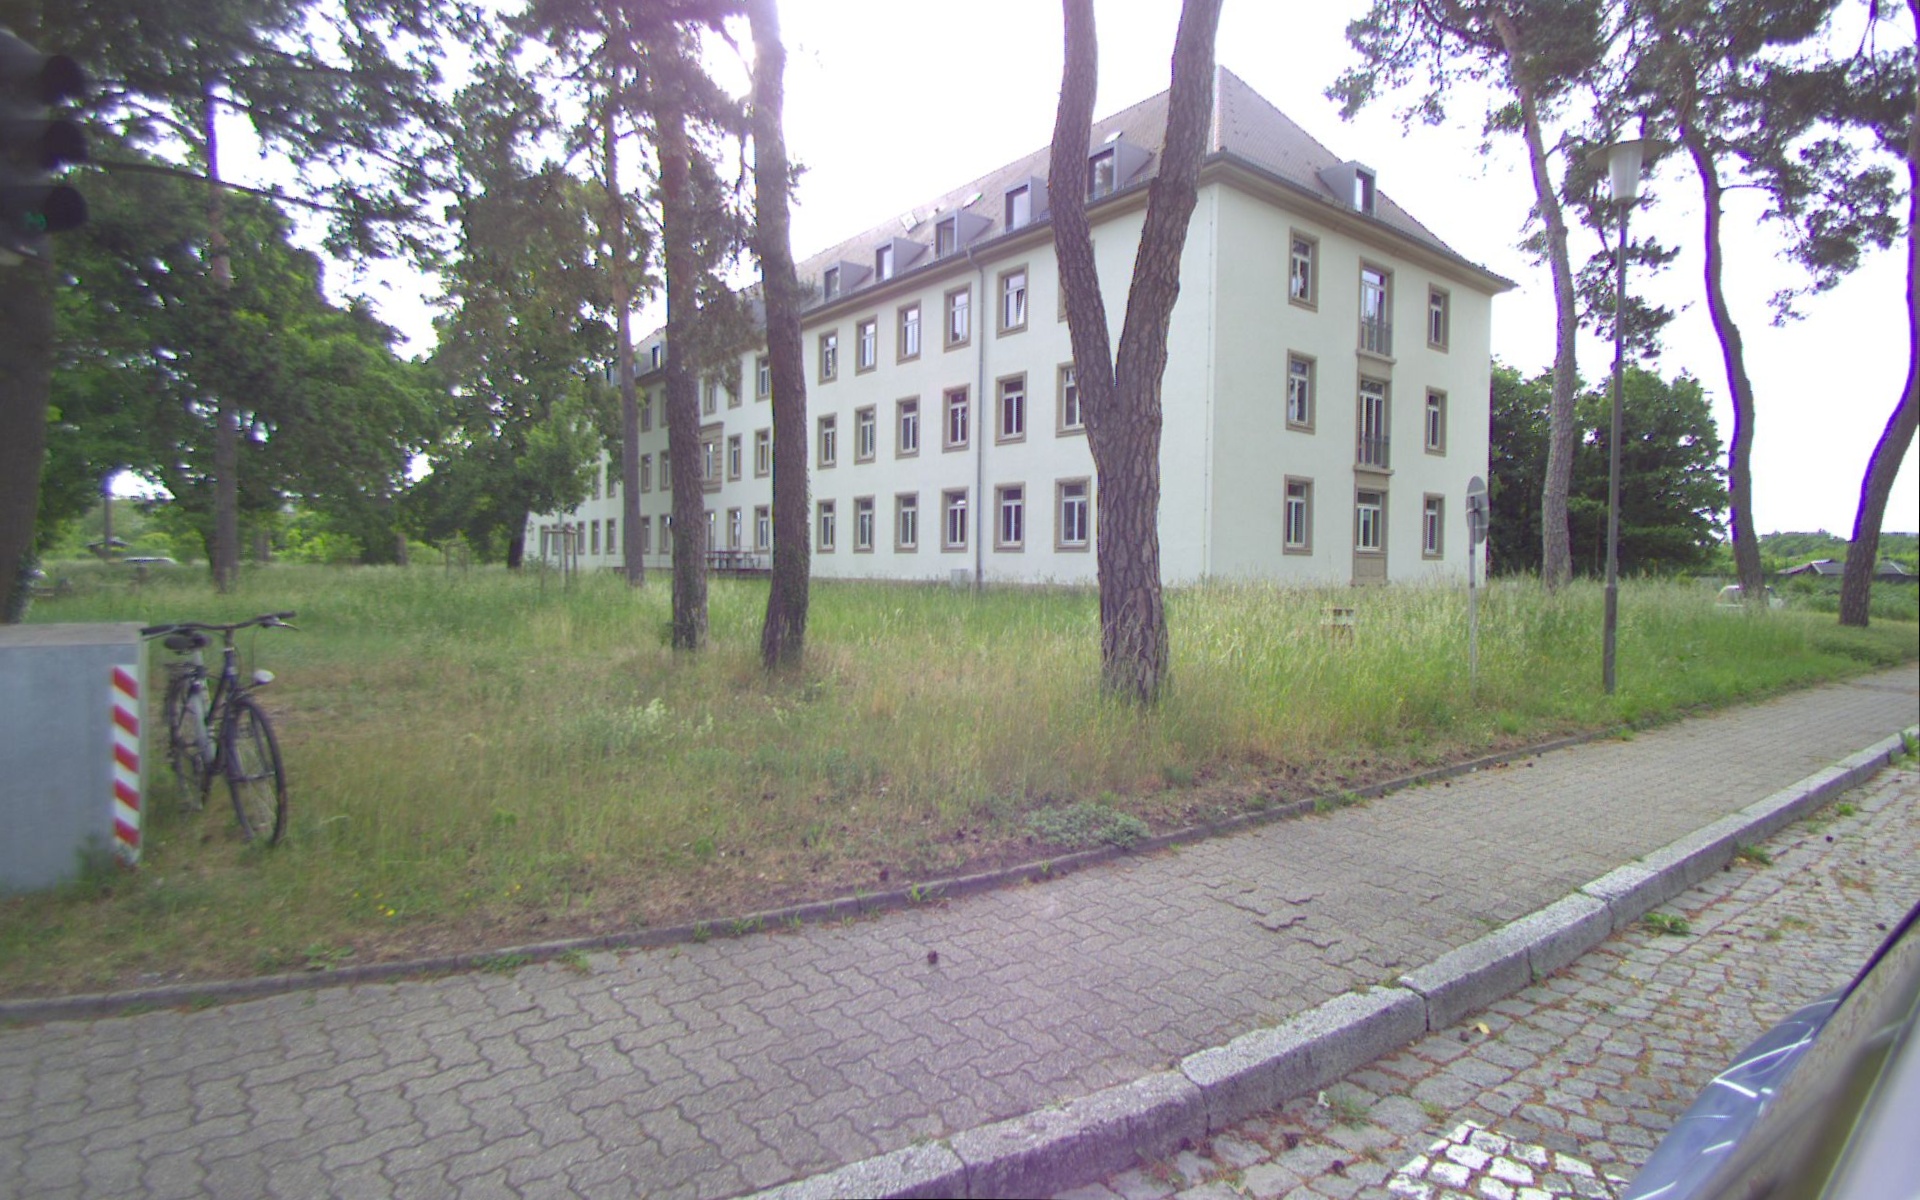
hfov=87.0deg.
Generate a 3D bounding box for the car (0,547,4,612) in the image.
[{"bbox_3d":[-24.140,-0.448,22.589,3.859,1.549,1.862,-1,2,-37],"label":"car"}]

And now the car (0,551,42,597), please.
[{"bbox_3d":[-35.459,-0.923,35.657,4.435,1.638,1.999,-1,2,-38],"label":"car"}]

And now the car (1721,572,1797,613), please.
[{"bbox_3d":[31.445,-0.332,39.802,3.220,1.451,1.641,-4,4,-38],"label":"car"}]

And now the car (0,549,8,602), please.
[{"bbox_3d":[-32.099,-0.759,31.111,3.927,1.638,1.999,-1,2,-38],"label":"car"}]

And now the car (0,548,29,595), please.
[{"bbox_3d":[-37.980,-1.073,37.733,4.610,1.795,1.999,-1,2,-38],"label":"car"}]

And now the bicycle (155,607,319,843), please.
[{"bbox_3d":[-3.563,0.514,4.953,0.562,0.885,1.704,0,2,-38],"label":"bicycle"}]
